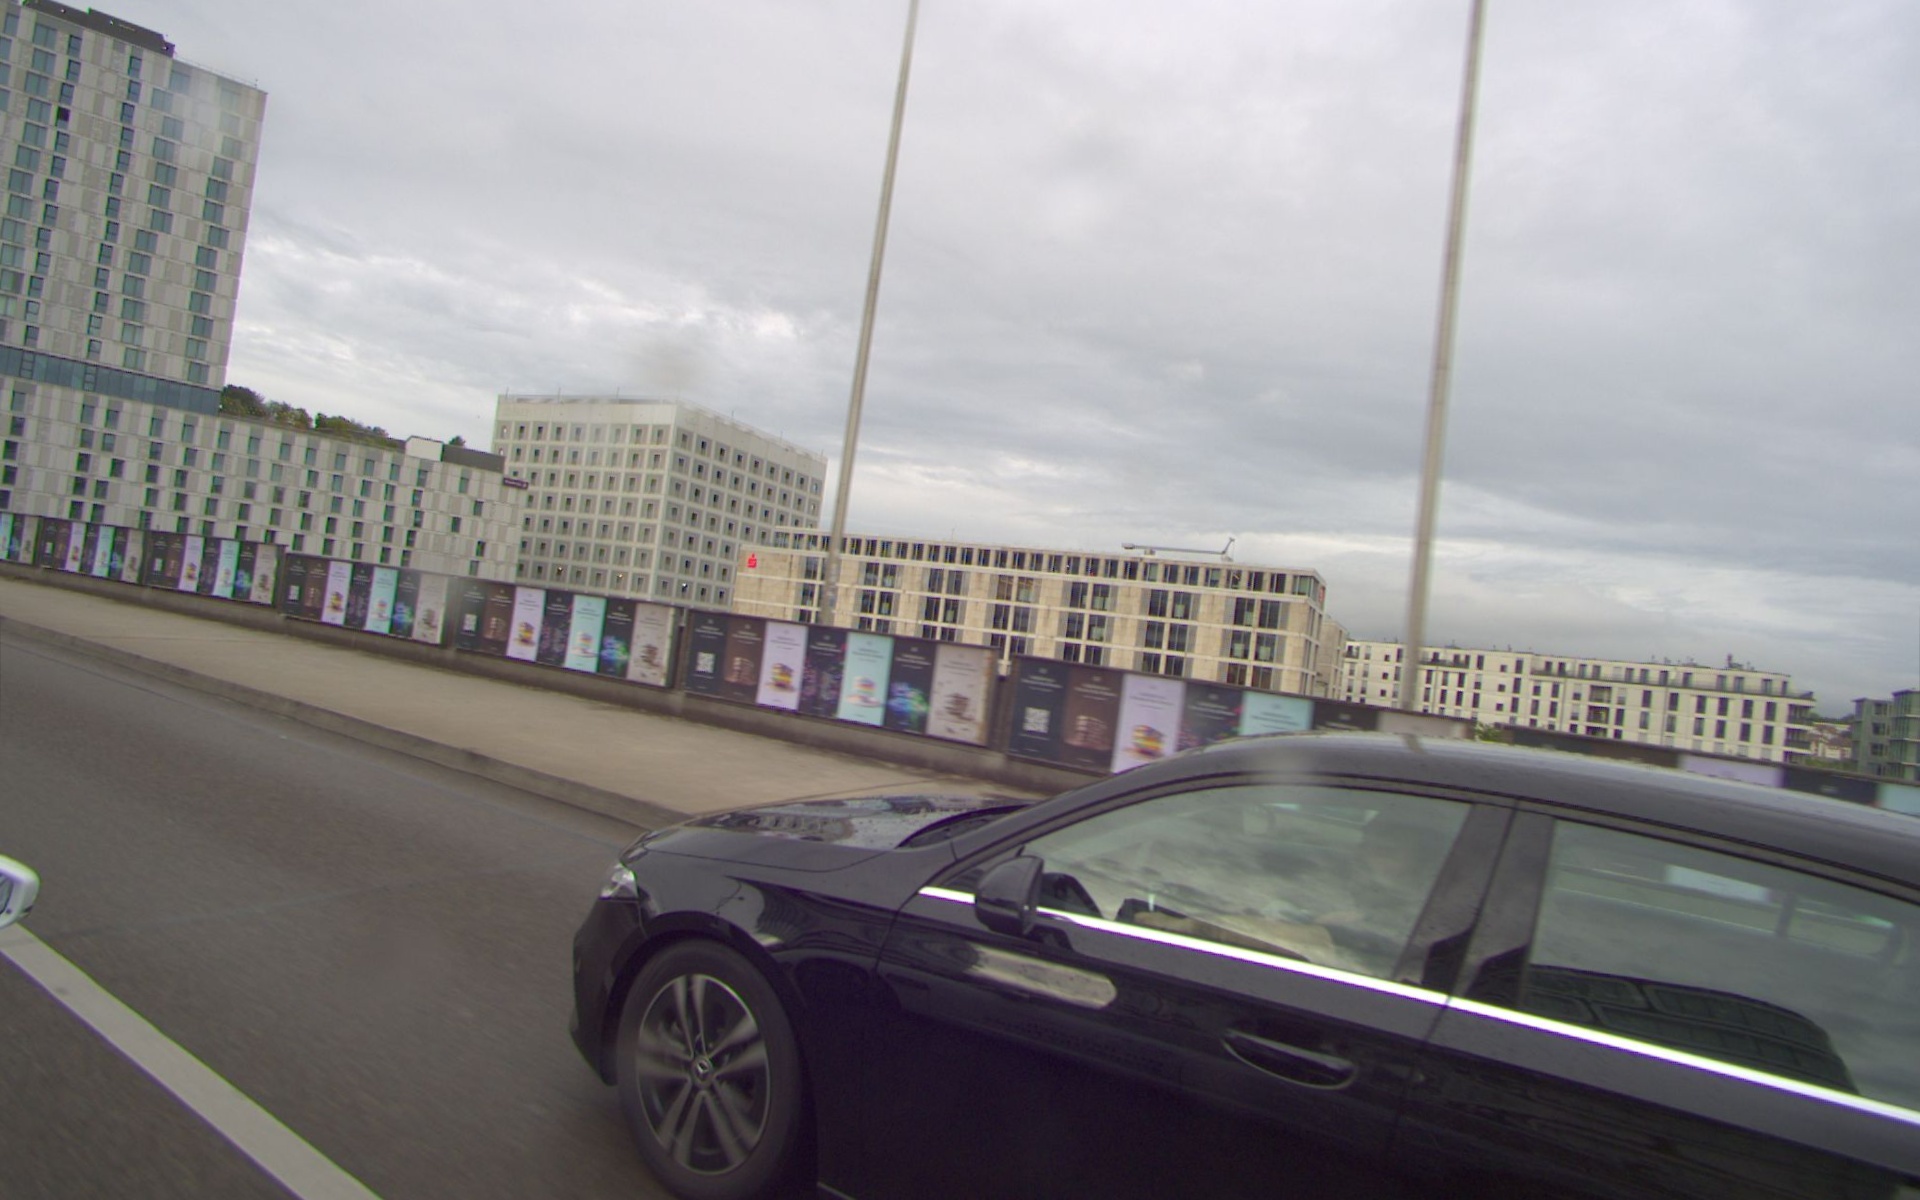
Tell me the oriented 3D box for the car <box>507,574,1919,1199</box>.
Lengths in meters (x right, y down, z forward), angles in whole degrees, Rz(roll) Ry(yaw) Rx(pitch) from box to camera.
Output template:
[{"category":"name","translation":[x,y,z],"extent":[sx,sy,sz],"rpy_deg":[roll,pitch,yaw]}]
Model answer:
[{"category":"car","translation":[0.964,0.862,2.505],"extent":[4.087,1.392,1.726],"rpy_deg":[5,-2,32]}]
